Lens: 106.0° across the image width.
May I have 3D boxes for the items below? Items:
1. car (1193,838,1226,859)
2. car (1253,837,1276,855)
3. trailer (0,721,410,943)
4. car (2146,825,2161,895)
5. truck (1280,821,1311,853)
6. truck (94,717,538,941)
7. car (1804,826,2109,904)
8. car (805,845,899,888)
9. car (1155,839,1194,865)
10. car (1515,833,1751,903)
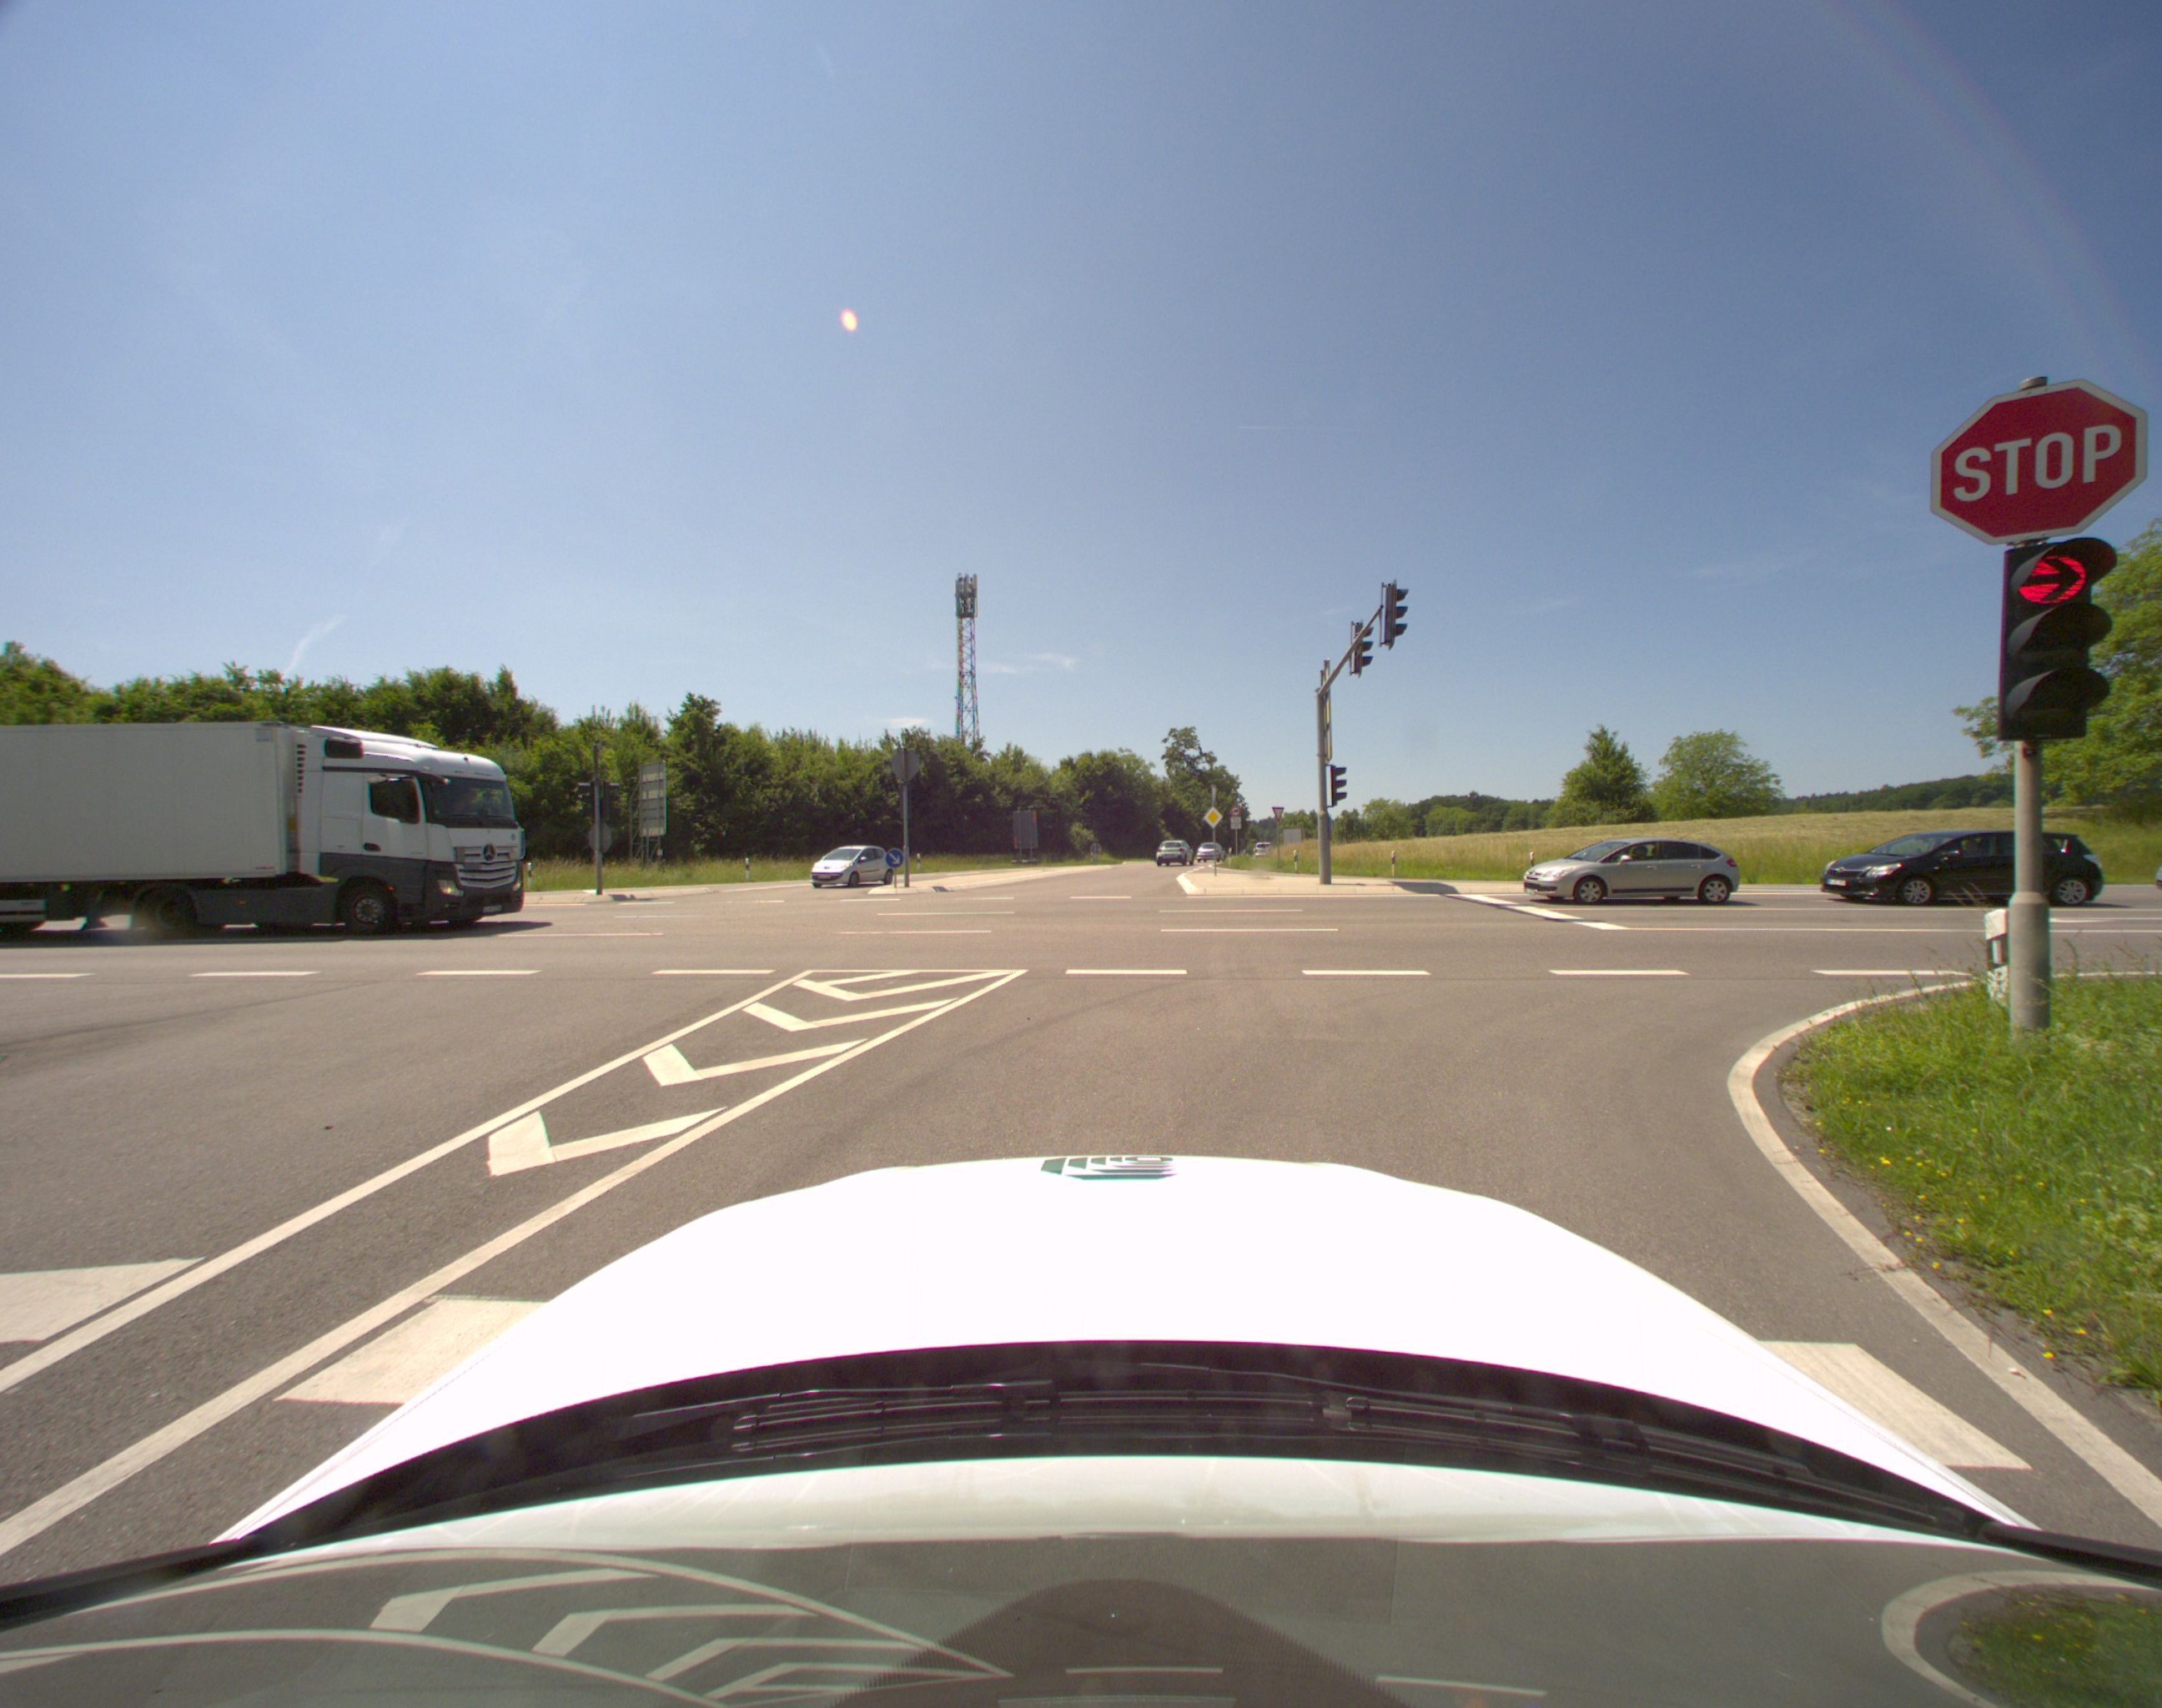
[{"bbox_3d":[9.501,-0.408,60.030,1.798,1.413,3.801,-1,2,17],"label":"car"},{"bbox_3d":[18.695,-0.818,82.936,1.797,1.624,4.081,-1,1,20],"label":"car"},{"bbox_3d":[-21.571,-0.380,16.344,13.749,4.036,2.661,-1,1,-1],"label":"trailer"},{"bbox_3d":[25.899,0.139,17.267,3.984,1.553,1.660,0,2,9],"label":"car"},{"bbox_3d":[30.828,-2.402,116.389,3.100,4.172,16.767,-1,0,19],"label":"truck"},{"bbox_3d":[-15.043,-0.498,16.417,6.240,4.036,2.661,-1,1,0],"label":"truck"},{"bbox_3d":[18.708,0.207,17.618,4.342,1.553,1.734,0,2,9],"label":"car"},{"bbox_3d":[-8.212,0.411,29.498,1.552,1.370,3.548,-1,1,18],"label":"car"},{"bbox_3d":[5.600,-0.152,48.409,1.716,1.404,4.004,0,2,16],"label":"car"},{"bbox_3d":[12.411,0.299,18.540,4.135,1.469,1.733,0,2,6],"label":"car"}]
